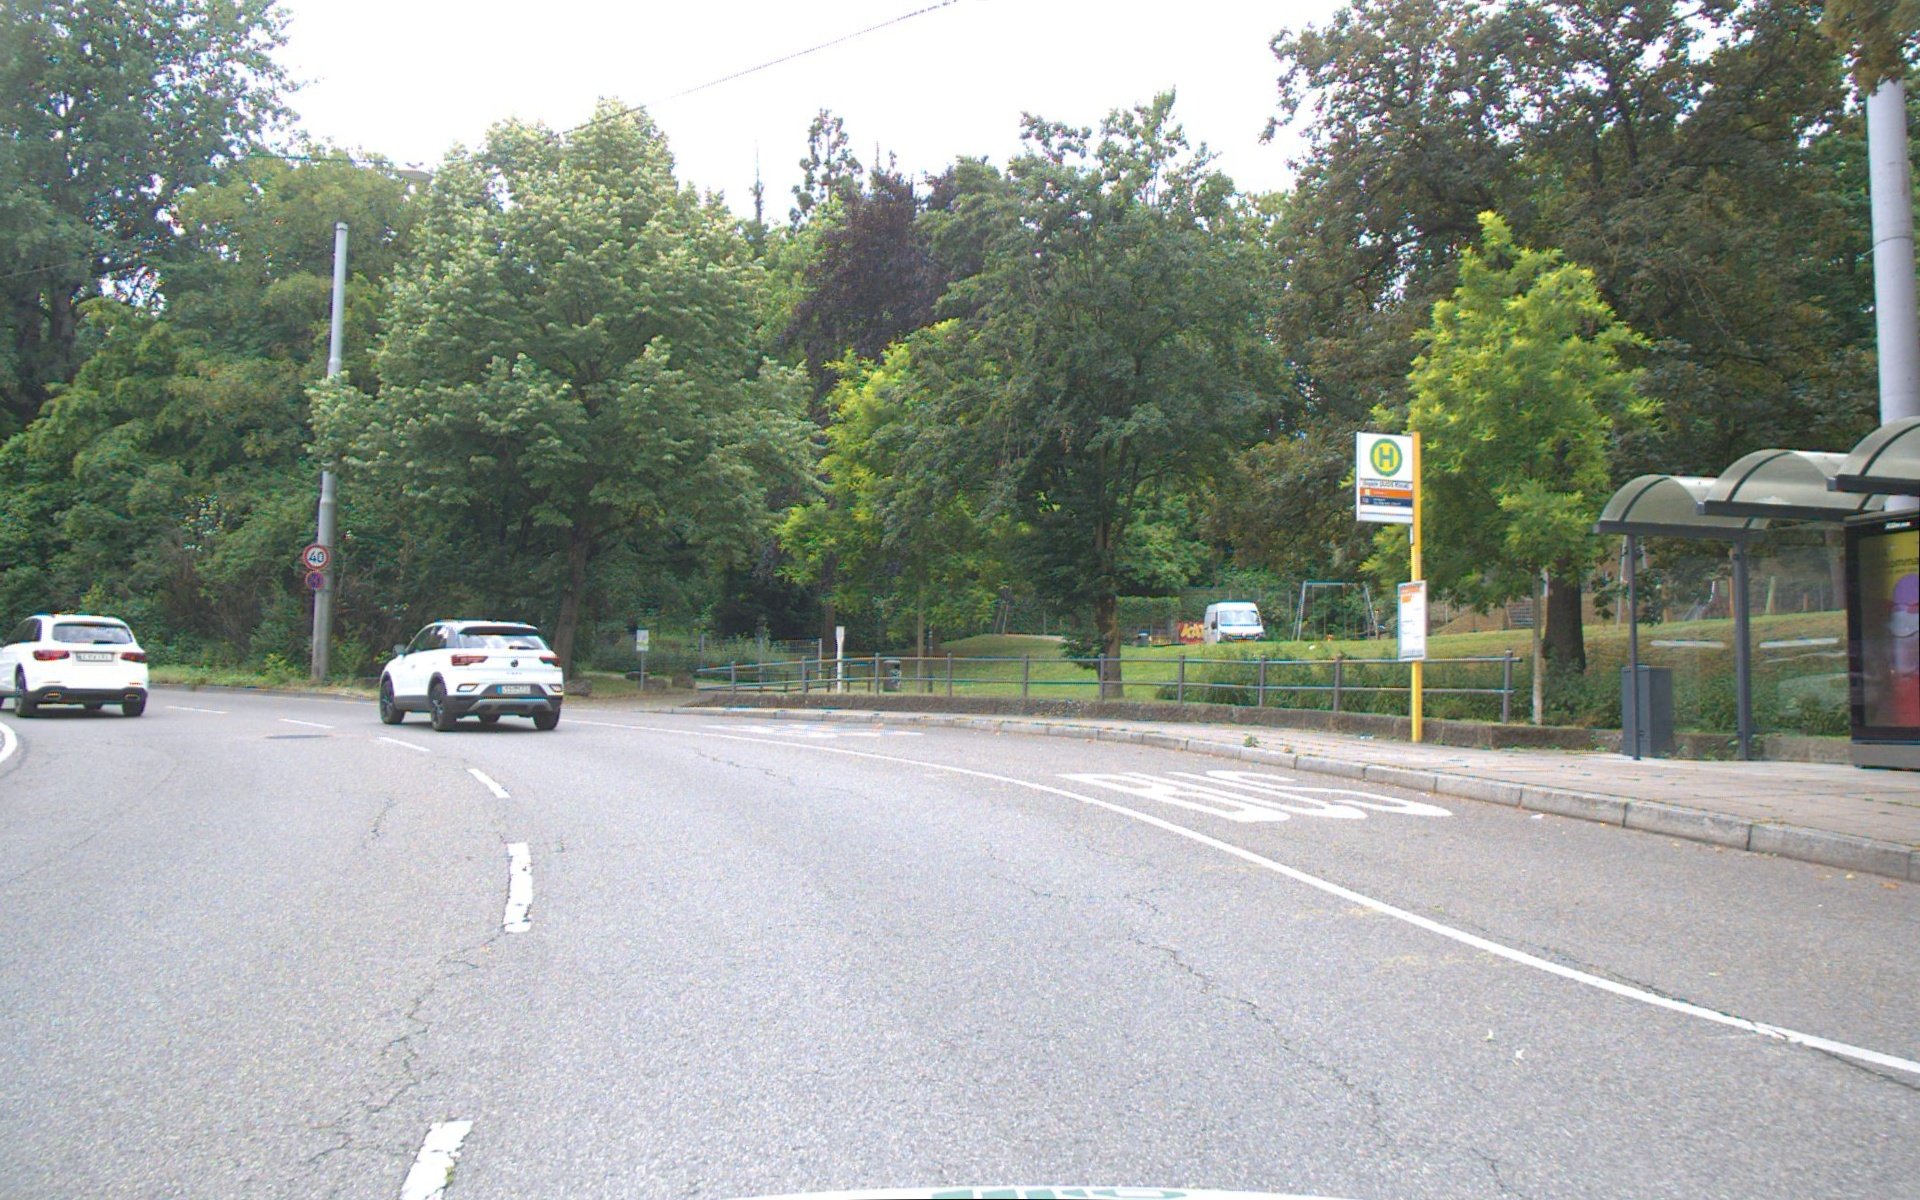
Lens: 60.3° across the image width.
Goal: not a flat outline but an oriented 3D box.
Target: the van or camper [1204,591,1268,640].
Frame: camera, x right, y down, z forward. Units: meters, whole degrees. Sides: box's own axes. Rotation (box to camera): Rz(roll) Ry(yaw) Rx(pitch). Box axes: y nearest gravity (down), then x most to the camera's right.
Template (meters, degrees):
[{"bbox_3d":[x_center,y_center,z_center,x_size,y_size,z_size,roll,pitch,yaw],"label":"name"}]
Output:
[{"bbox_3d":[11.956,0.682,71.946,2.255,2.049,5.444,0,-1,4],"label":"van or camper"}]

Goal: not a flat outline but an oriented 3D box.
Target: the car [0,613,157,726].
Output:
[{"bbox_3d":[-15.058,1.099,27.960,1.863,1.680,4.283,-2,1,-37],"label":"car"}]

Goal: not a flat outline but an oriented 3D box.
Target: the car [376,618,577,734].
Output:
[{"bbox_3d":[-7.288,1.070,24.706,1.848,1.583,3.849,1,-1,-33],"label":"car"}]
